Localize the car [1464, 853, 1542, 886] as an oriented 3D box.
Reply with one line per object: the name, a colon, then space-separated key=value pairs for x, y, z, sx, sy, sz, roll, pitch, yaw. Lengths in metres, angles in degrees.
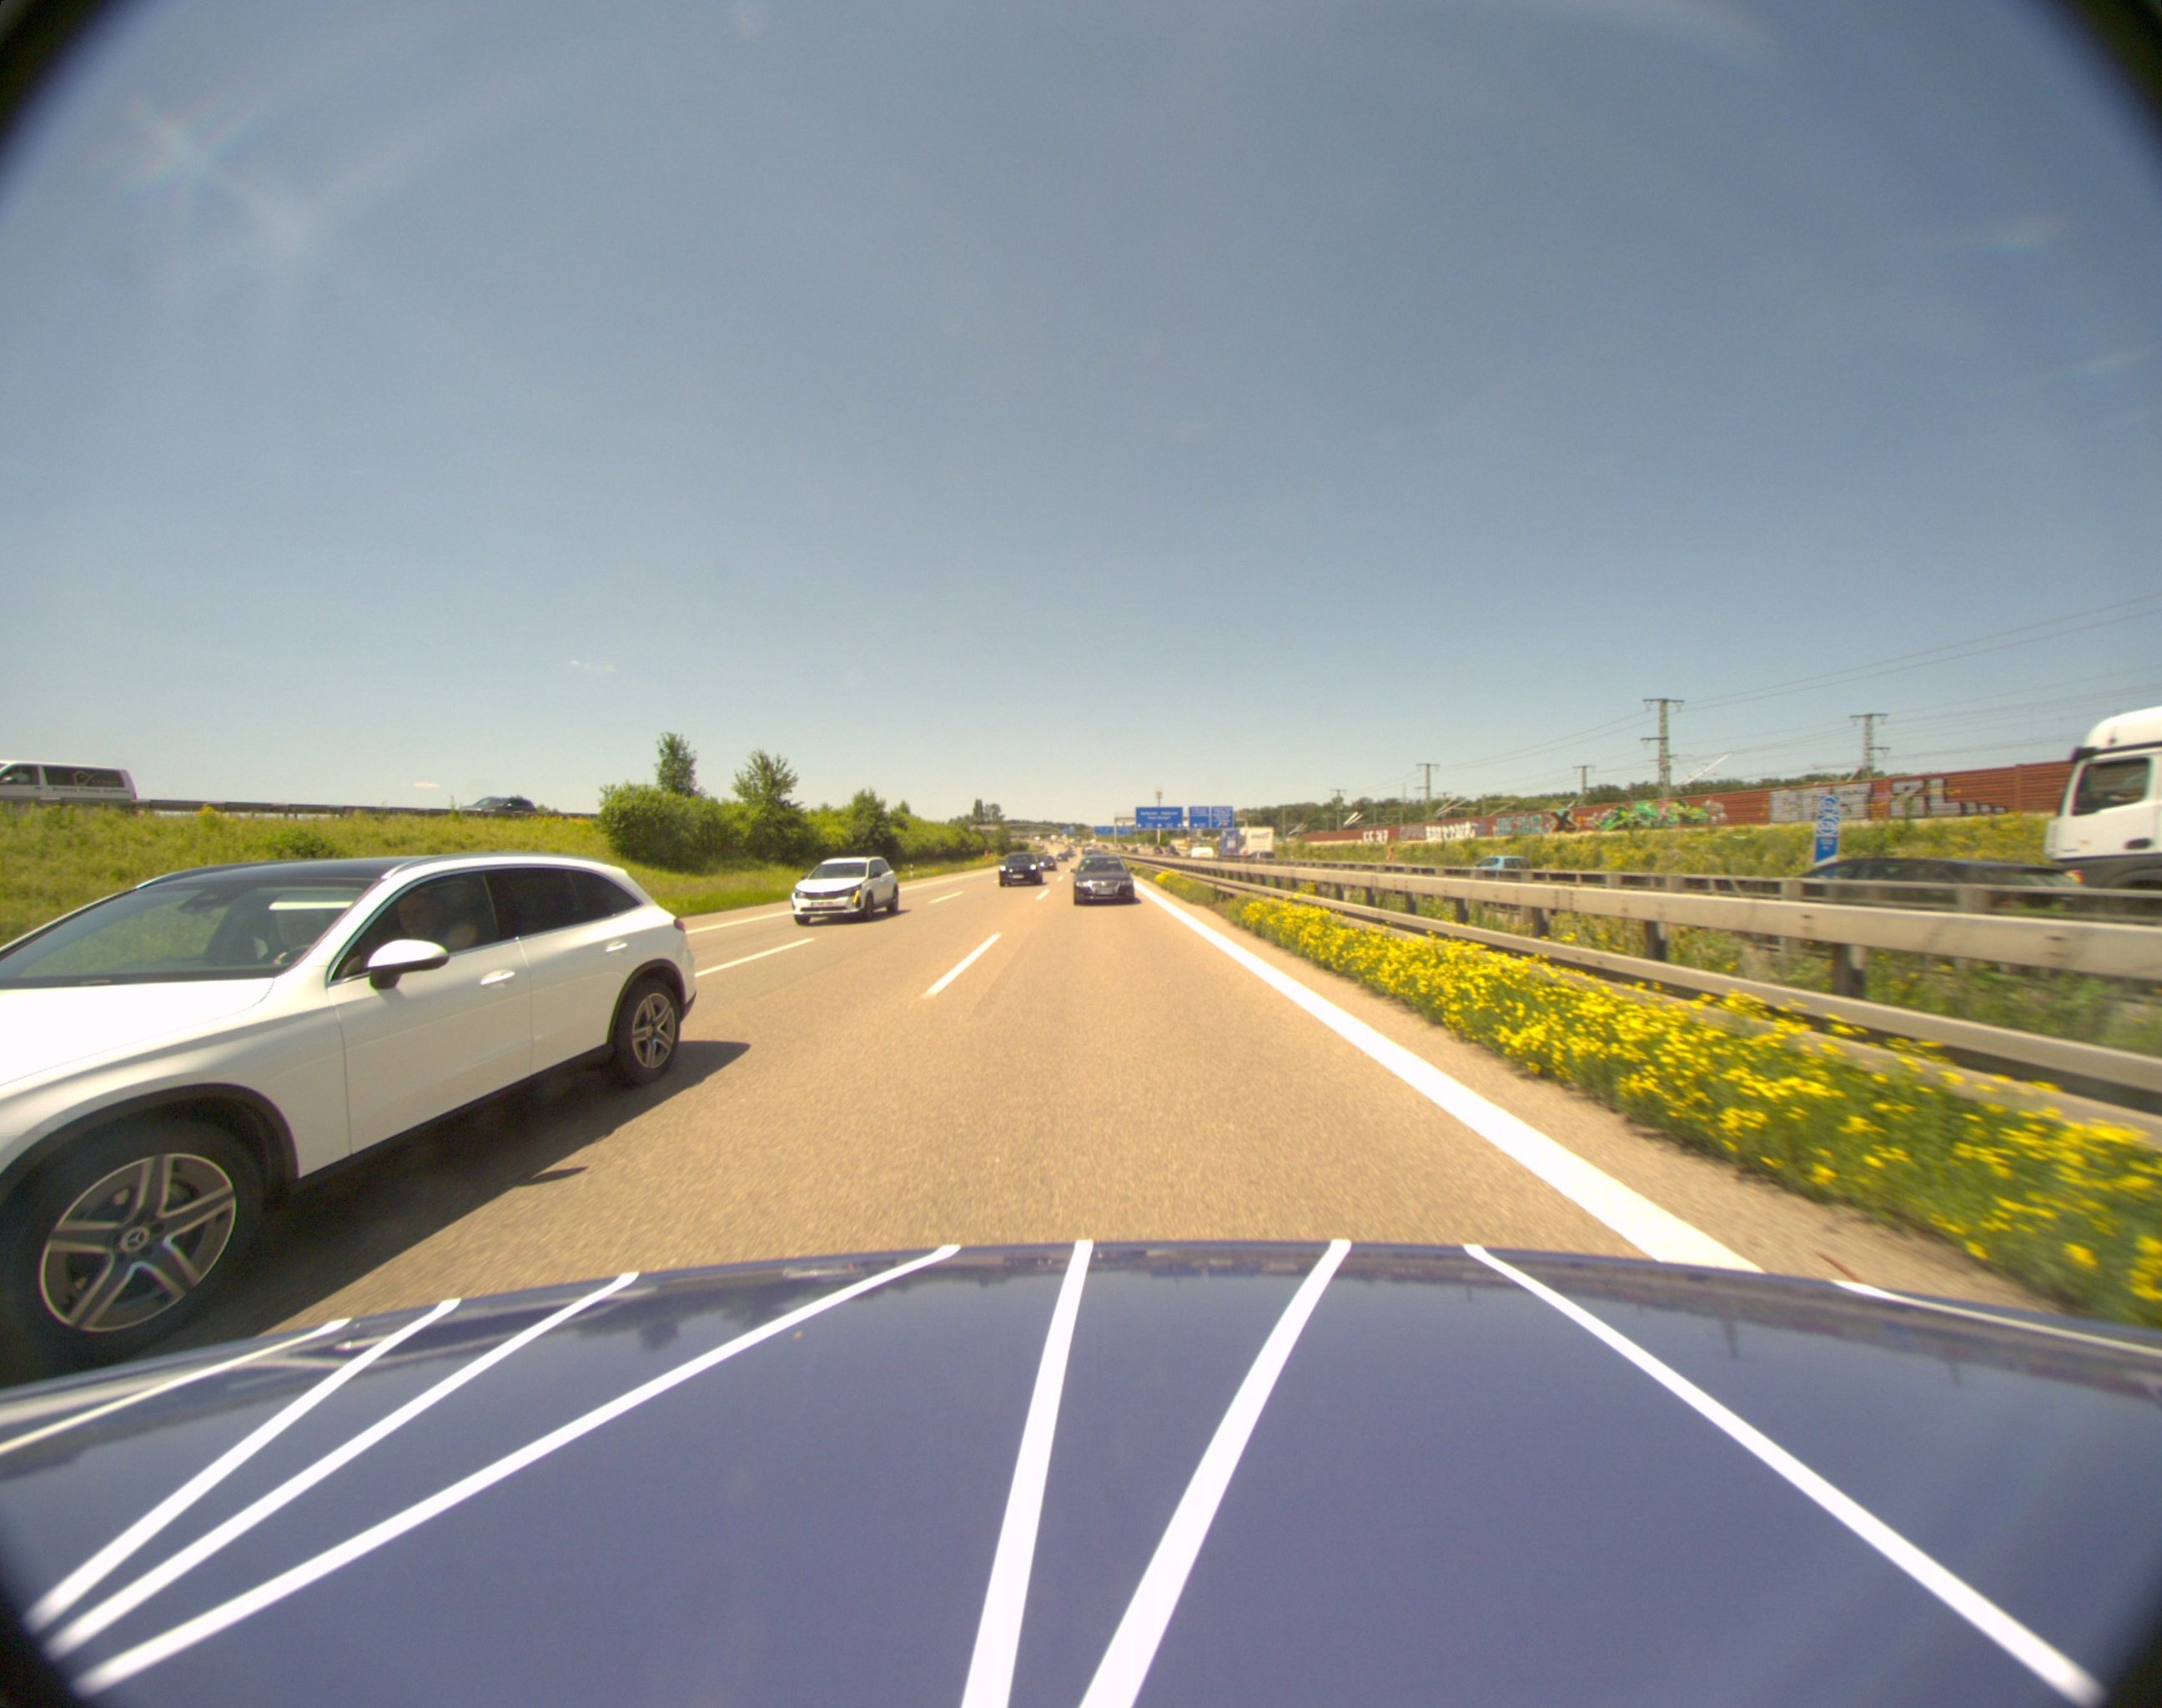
car: x=20.593 y=0.716 z=37.262 sx=1.758 sy=1.510 sz=3.836 roll=-1 pitch=0 yaw=1

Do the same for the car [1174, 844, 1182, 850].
car: x=27.686 y=-1.979 z=216.837 sx=1.998 sy=1.716 sz=4.512 roll=-2 pitch=1 yaw=1

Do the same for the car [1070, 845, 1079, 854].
car: x=-1.654 y=-1.042 z=183.997 sx=1.998 sy=2.002 sz=3.999 roll=-3 pitch=2 yaw=1

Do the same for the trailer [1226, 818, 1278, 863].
trailer: x=17.754 y=-1.358 z=79.825 sx=2.895 sy=4.382 sz=12.091 roll=0 pitch=0 yaw=1

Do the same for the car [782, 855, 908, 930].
car: x=-6.156 y=0.925 z=20.433 sx=1.898 sy=1.620 sz=4.615 roll=-2 pitch=1 yaw=0

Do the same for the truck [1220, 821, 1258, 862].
truck: x=17.862 y=-1.405 z=86.279 sx=2.895 sy=4.382 sz=7.502 roll=0 pitch=1 yaw=1

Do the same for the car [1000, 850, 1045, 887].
car: x=-2.908 y=0.679 z=38.658 sx=1.983 sy=1.620 sz=4.615 roll=-2 pitch=1 yaw=-1

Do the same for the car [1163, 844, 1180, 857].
car: x=12.278 y=-0.531 z=103.459 sx=1.723 sy=1.625 sz=4.191 roll=-3 pitch=2 yaw=1

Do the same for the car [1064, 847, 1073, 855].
car: x=-2.692 y=-0.663 z=163.520 sx=1.999 sy=1.691 sz=3.999 roll=-2 pitch=1 yaw=-1

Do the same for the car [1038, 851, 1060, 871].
car: x=-2.676 y=0.530 z=63.668 sx=1.752 sy=1.462 sz=3.998 roll=-2 pitch=2 yaw=-2

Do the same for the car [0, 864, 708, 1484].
car: x=-3.982 y=0.959 z=3.729 sx=1.909 sy=1.646 sz=4.636 roll=-2 pitch=1 yaw=1

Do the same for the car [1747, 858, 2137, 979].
car: x=12.611 y=0.835 z=11.564 sx=1.648 sy=1.453 sz=3.836 roll=-2 pitch=0 yaw=2

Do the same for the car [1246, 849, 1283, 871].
car: x=14.092 y=0.424 z=58.614 sx=1.820 sy=1.637 sz=4.362 roll=-1 pitch=0 yaw=1

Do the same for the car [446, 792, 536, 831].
car: x=-33.571 y=-2.378 z=43.367 sx=1.999 sy=2.002 sz=3.998 roll=-3 pitch=2 yaw=-3

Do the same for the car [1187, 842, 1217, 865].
car: x=10.096 y=-0.049 z=63.714 sx=1.820 sy=1.775 sz=4.538 roll=-1 pitch=0 yaw=1

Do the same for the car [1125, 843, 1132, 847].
car: x=15.852 y=-2.940 z=252.113 sx=1.872 sy=1.387 sz=4.511 roll=-1 pitch=1 yaw=-2

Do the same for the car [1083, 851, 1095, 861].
car: x=1.395 y=0.306 z=137.527 sx=1.999 sy=1.691 sz=3.999 roll=-2 pitch=1 yaw=-1

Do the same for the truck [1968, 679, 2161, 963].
truck: x=16.750 y=-0.472 z=10.008 sx=2.736 sy=4.048 sz=6.380 roll=0 pitch=1 yaw=2

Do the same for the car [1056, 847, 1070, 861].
car: x=-2.696 y=-0.008 z=116.950 sx=1.999 sy=2.002 sz=3.999 roll=-2 pitch=1 yaw=-1

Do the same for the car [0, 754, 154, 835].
car: x=-31.743 y=-1.730 z=22.853 sx=2.000 sy=2.159 sz=4.890 roll=-2 pitch=0 yaw=-7

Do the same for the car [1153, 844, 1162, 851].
car: x=22.656 y=-1.850 z=225.093 sx=1.998 sy=2.002 sz=4.308 roll=-3 pitch=2 yaw=1

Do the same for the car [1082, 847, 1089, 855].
car: x=1.265 y=-0.958 z=217.123 sx=1.998 sy=2.002 sz=3.999 roll=-3 pitch=2 yaw=1

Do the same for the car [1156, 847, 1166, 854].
car: x=19.338 y=-0.866 z=183.760 sx=1.998 sy=1.478 sz=3.931 roll=0 pitch=1 yaw=1

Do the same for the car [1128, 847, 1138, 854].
car: x=11.137 y=-0.744 z=163.567 sx=1.998 sy=1.455 sz=4.384 roll=-2 pitch=1 yaw=1

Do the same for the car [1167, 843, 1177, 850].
car: x=23.950 y=-1.944 z=200.408 sx=1.998 sy=1.716 sz=4.512 roll=-2 pitch=1 yaw=1

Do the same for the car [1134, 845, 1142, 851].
car: x=16.139 y=-1.579 z=213.881 sx=1.998 sy=1.686 sz=4.188 roll=-1 pitch=1 yaw=1

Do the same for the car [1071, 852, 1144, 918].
car: x=0.631 y=0.766 z=20.703 sx=1.752 sy=1.462 sz=3.998 roll=-2 pitch=2 yaw=-1
